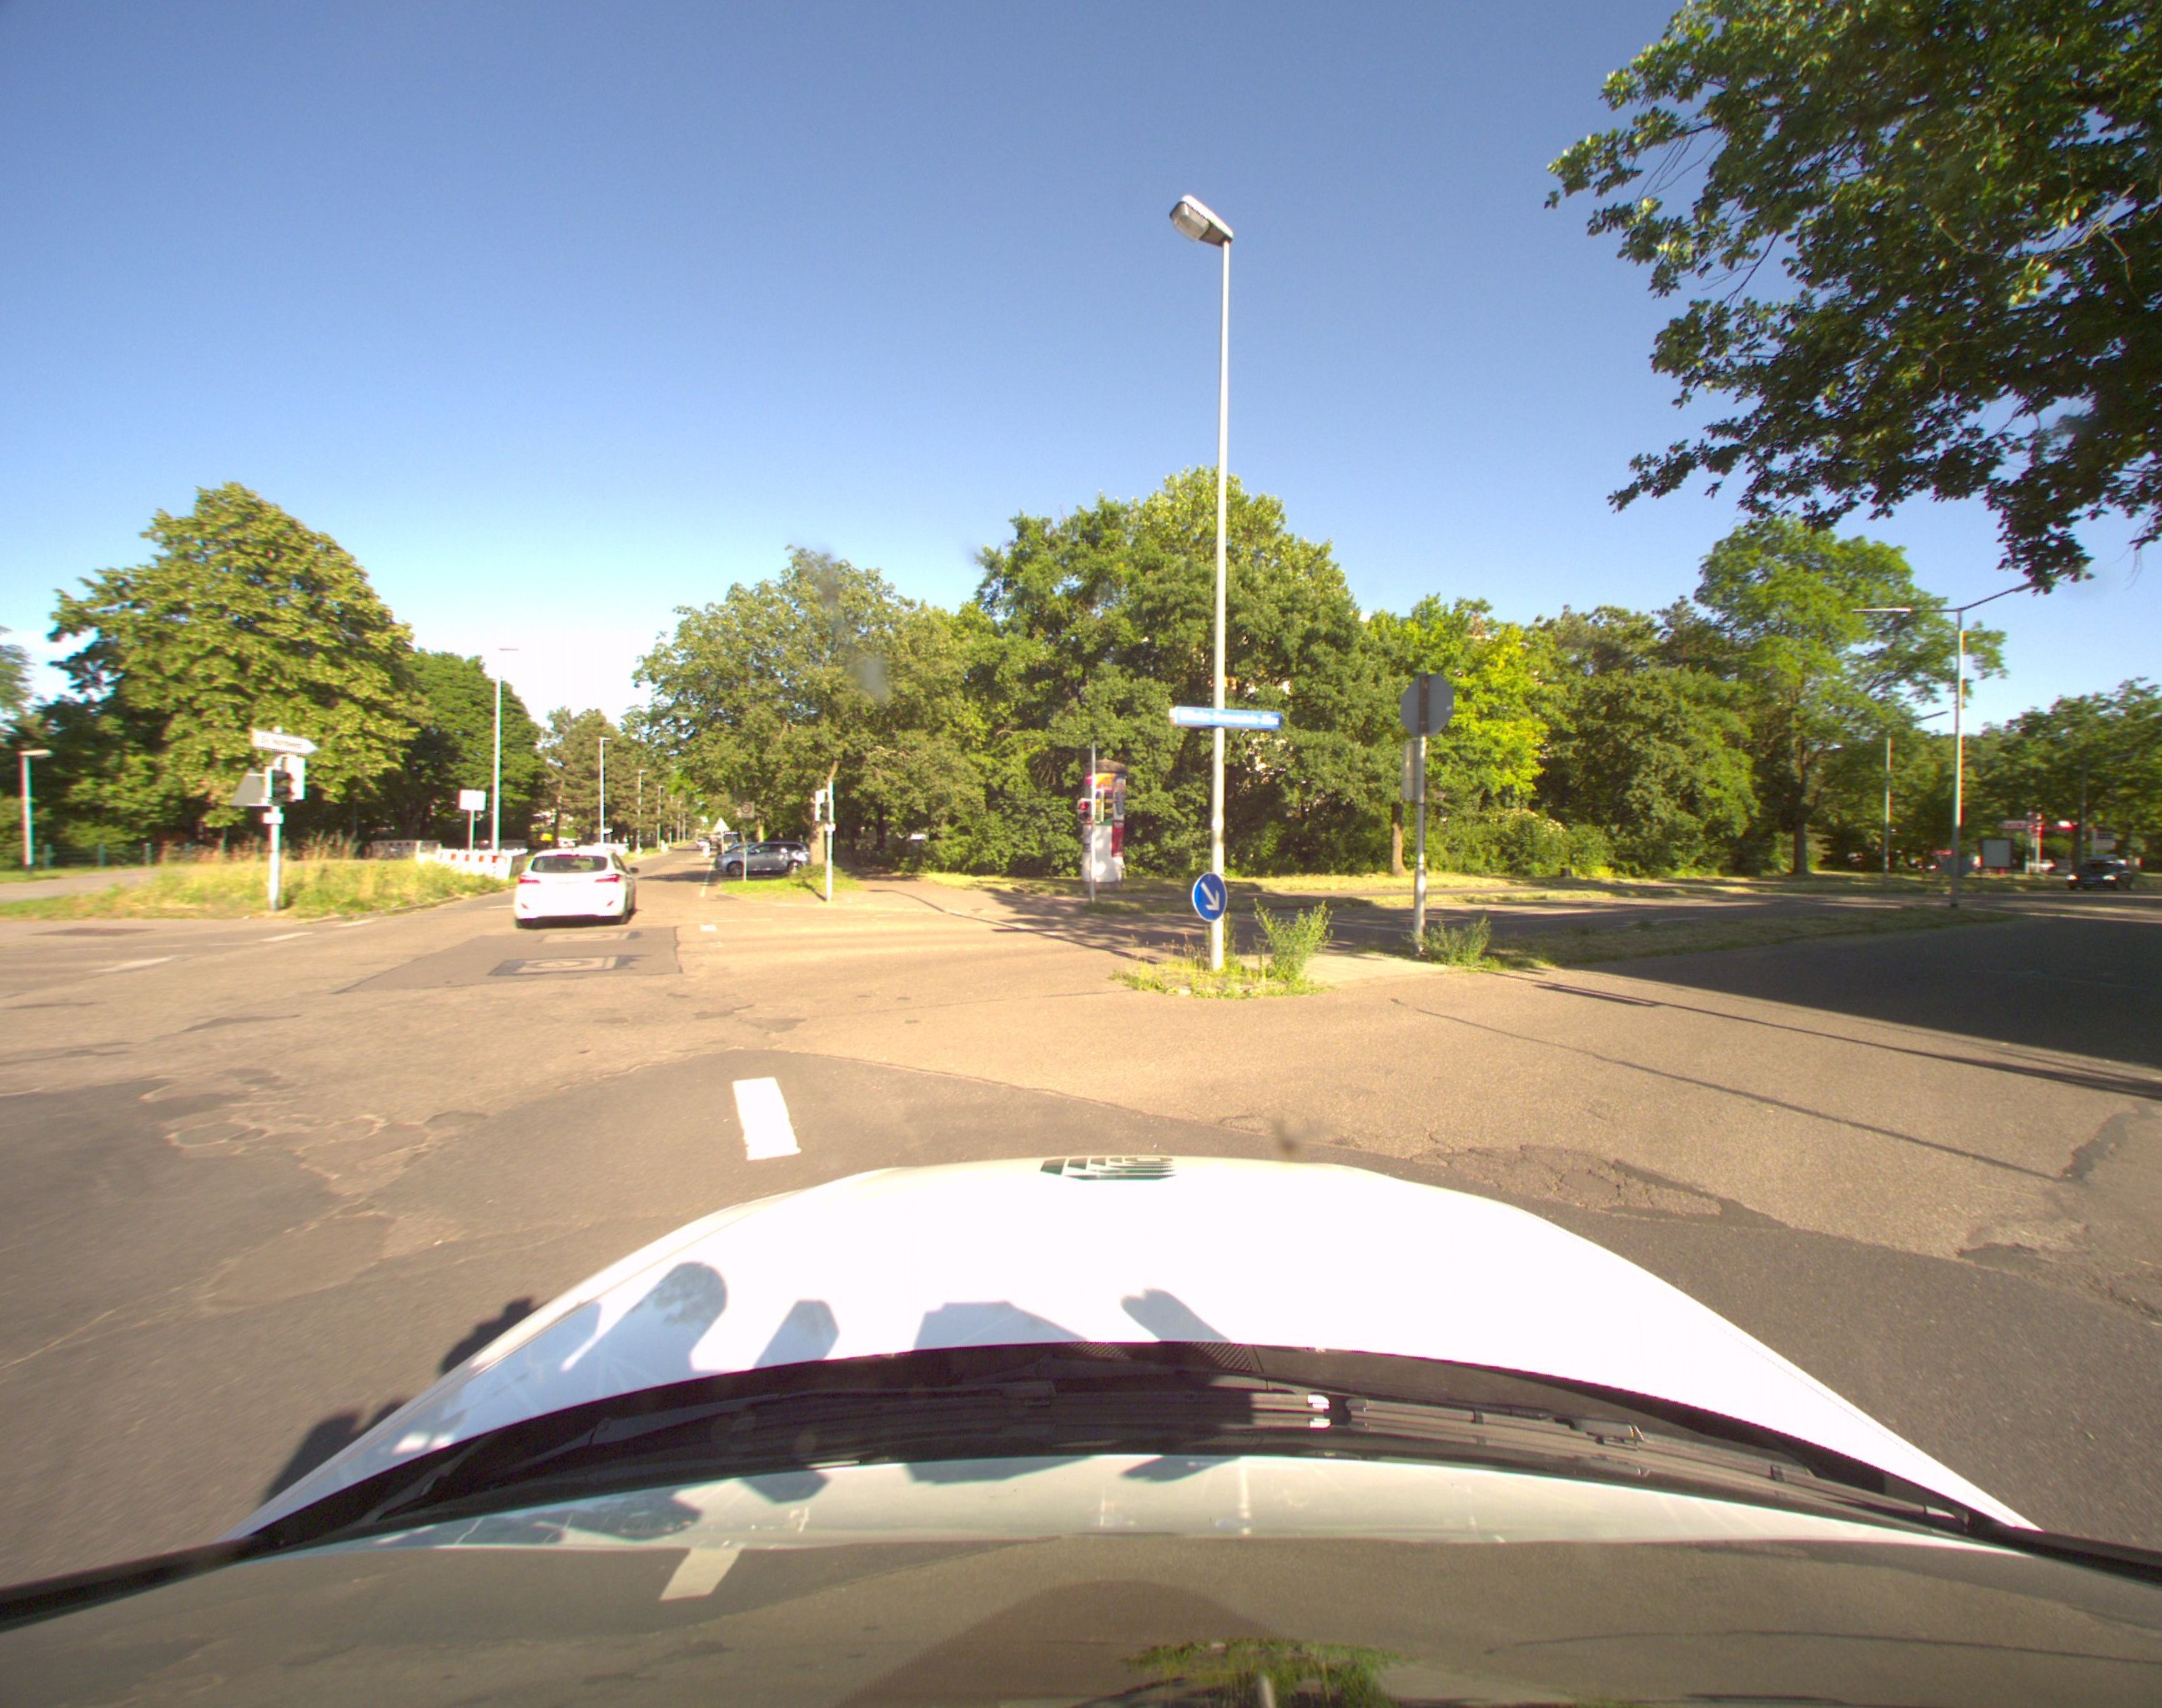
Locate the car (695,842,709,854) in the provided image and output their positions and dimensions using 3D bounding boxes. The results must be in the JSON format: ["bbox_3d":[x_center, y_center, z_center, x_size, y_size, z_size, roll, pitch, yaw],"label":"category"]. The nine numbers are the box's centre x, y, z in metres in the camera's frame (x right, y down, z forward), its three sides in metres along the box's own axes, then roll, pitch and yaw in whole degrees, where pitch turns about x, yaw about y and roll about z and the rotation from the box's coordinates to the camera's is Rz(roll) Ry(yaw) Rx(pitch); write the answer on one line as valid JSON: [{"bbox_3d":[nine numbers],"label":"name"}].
[{"bbox_3d":[-62.672,-1.001,134.750,2.002,1.816,3.969,2,0,-24],"label":"car"}]

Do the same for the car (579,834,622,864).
[{"bbox_3d":[-33.865,-0.398,57.485,2.003,1.815,3.970,-4,4,-24],"label":"car"}]

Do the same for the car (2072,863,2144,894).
[{"bbox_3d":[59.703,1.377,47.336,4.515,1.708,1.829,1,0,-28],"label":"car"}]

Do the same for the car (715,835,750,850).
[{"bbox_3d":[-47.692,-1.545,111.531,4.321,1.908,1.848,2,-1,-24],"label":"car"}]

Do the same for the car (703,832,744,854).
[{"bbox_3d":[-37.830,-1.149,86.241,3.837,2.098,1.848,2,-1,-24],"label":"car"}]

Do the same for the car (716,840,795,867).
[{"bbox_3d":[-20.310,-0.039,50.939,4.516,1.630,1.841,1,0,-22],"label":"car"}]

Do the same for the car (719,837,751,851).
[{"bbox_3d":[-46.219,-1.353,108.770,3.837,1.767,1.848,2,-1,-24],"label":"car"}]

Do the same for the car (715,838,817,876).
[{"bbox_3d":[-15.355,0.153,39.846,4.516,1.783,1.841,1,0,-22],"label":"car"}]

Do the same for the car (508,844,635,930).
[{"bbox_3d":[-10.039,0.565,16.317,1.799,1.463,3.928,1,1,-27],"label":"car"}]

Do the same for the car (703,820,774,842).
[{"bbox_3d":[-30.205,-1.972,71.945,5.640,1.684,1.932,2,-1,-25],"label":"car"}]

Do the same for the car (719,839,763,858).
[{"bbox_3d":[-32.466,-0.541,77.746,3.837,1.684,1.848,2,-1,-24],"label":"car"}]

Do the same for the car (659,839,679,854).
[{"bbox_3d":[-51.657,-0.955,102.127,2.002,1.816,3.969,2,0,-24],"label":"car"}]

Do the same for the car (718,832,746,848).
[{"bbox_3d":[-52.254,-2.085,121.916,3.837,2.299,1.848,2,-1,-24],"label":"car"}]

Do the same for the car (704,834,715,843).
[{"bbox_3d":[-77.240,-3.146,169.197,2.002,1.816,3.969,2,0,-24],"label":"car"}]
